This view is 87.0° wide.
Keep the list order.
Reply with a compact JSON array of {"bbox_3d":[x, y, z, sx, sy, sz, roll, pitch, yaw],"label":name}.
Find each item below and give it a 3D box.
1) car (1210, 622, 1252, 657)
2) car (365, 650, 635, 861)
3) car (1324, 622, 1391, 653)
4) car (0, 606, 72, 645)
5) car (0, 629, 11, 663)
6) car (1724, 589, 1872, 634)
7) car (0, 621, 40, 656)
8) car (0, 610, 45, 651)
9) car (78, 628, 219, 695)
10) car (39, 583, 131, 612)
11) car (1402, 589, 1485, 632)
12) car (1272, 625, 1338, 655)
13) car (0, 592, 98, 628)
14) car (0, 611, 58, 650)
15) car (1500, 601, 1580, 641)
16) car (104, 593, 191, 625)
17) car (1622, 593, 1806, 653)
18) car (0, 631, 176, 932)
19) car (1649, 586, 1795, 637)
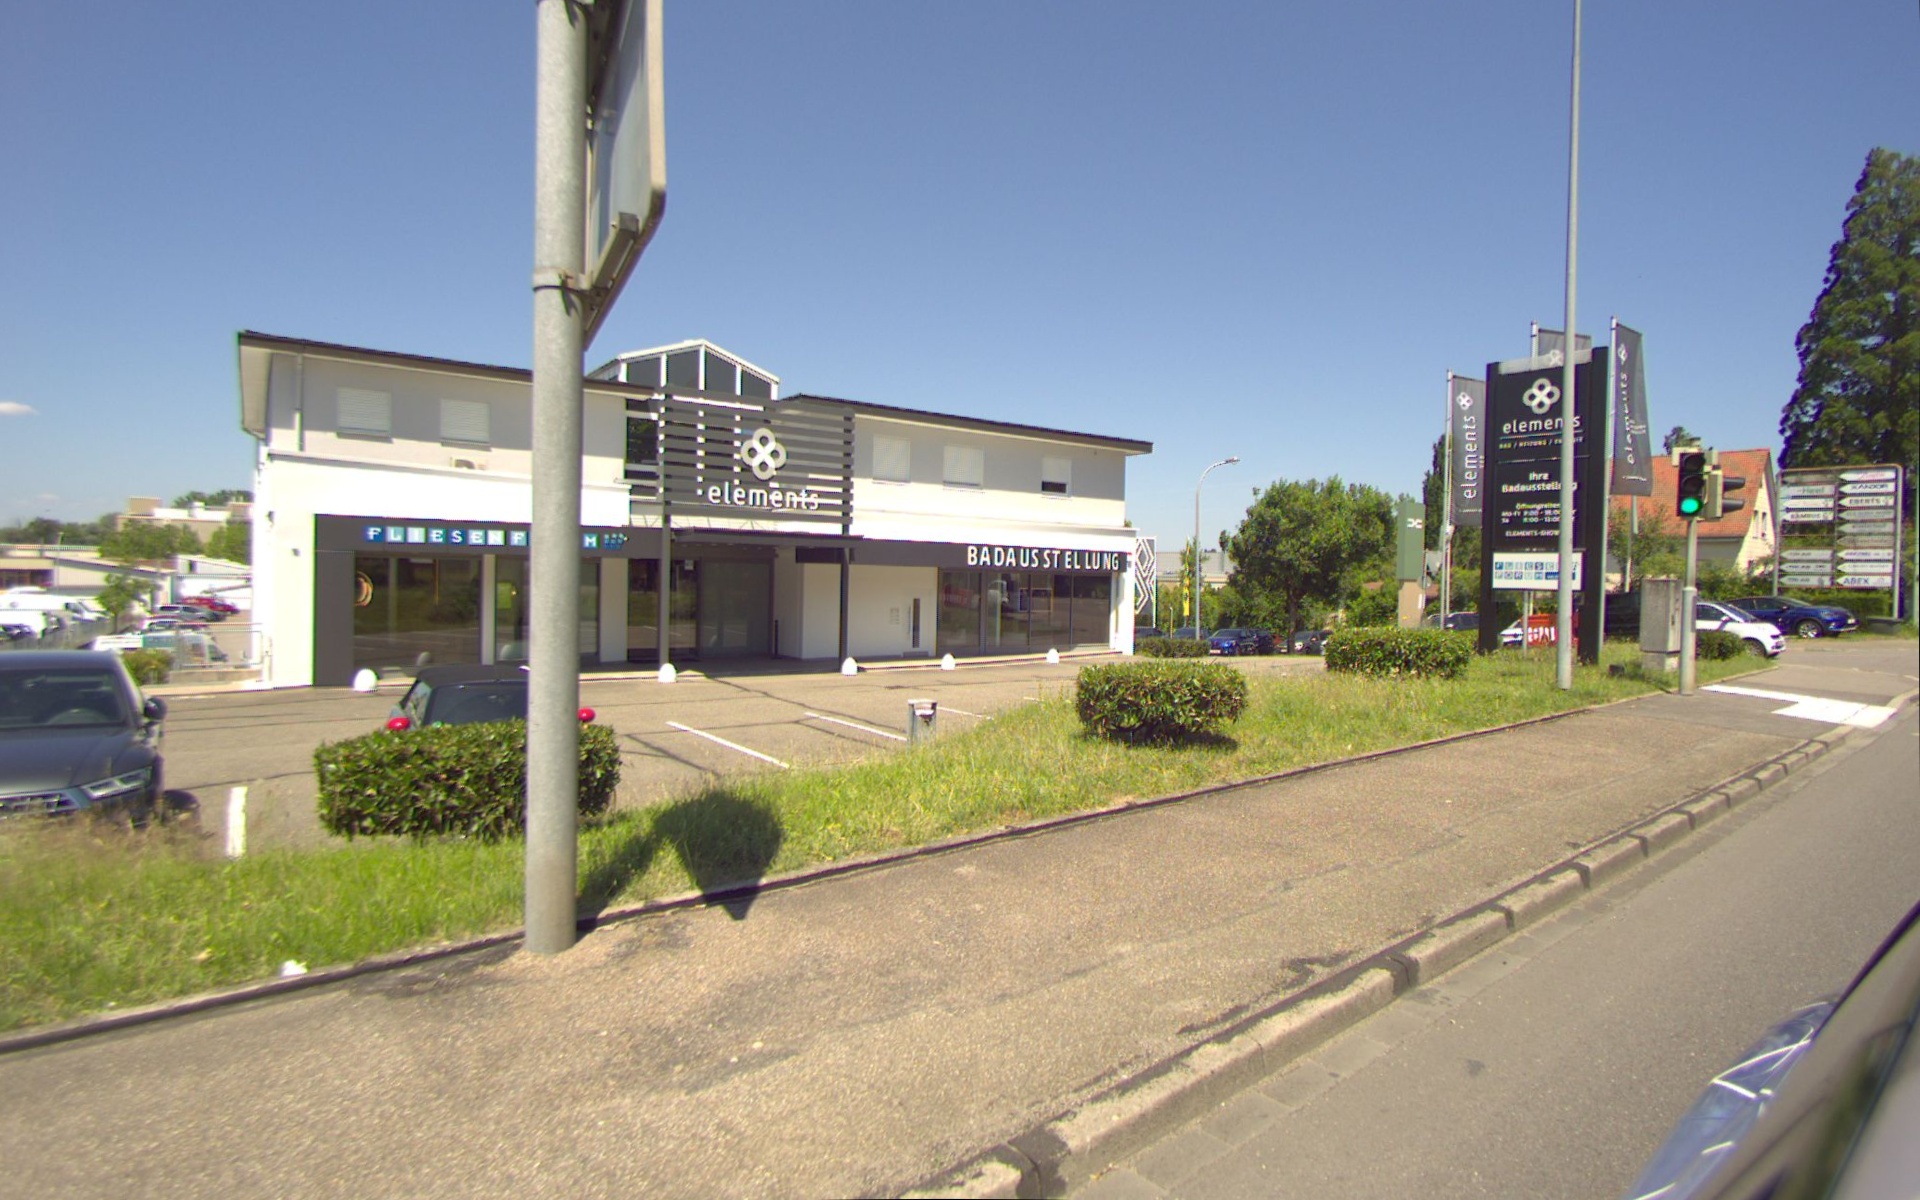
[{"bbox_3d":[13.072,1.891,48.800,1.841,1.527,3.980,-1,0,16],"label":"car"},{"bbox_3d":[-4.796,1.358,10.236,1.597,1.400,3.976,0,2,-38],"label":"car"},{"bbox_3d":[21.112,1.954,53.725,3.634,1.453,1.835,0,1,-40],"label":"car"},{"bbox_3d":[-54.132,1.467,58.830,3.617,2.146,1.699,0,-1,-37],"label":"car"},{"bbox_3d":[-43.559,2.028,43.659,3.628,1.477,1.723,0,0,-37],"label":"car"},{"bbox_3d":[28.379,0.346,34.350,1.597,1.400,3.638,0,2,-38],"label":"car"},{"bbox_3d":[-46.282,1.830,48.064,3.628,1.613,1.723,0,0,-37],"label":"car"},{"bbox_3d":[-51.186,1.624,53.584,3.856,2.141,1.723,0,-1,-37],"label":"car"},{"bbox_3d":[-31.813,2.346,39.870,2.185,2.365,4.386,0,0,-3],"label":"car"},{"bbox_3d":[-77.719,-0.263,90.079,6.028,2.439,2.505,-1,0,-38],"label":"car"},{"bbox_3d":[19.396,0.382,40.555,3.635,1.665,1.697,-1,0,-41],"label":"car"},{"bbox_3d":[18.881,2.150,55.303,3.633,1.453,1.776,0,1,-39],"label":"car"},{"bbox_3d":[-62.548,0.667,69.274,5.255,2.367,2.418,0,0,-37],"label":"car"},{"bbox_3d":[-49.009,1.561,52.122,3.628,1.915,1.723,0,-1,-37],"label":"car"},{"bbox_3d":[25.560,0.899,44.596,3.630,1.665,1.699,-1,0,-36],"label":"car"},{"bbox_3d":[-64.039,0.683,79.902,5.255,2.367,2.418,0,0,-37],"label":"car"},{"bbox_3d":[19.980,0.551,26.944,1.597,1.400,3.638,0,2,-38],"label":"car"},{"bbox_3d":[-7.587,1.230,8.266,1.849,1.684,4.606,0,2,-38],"label":"car"},{"bbox_3d":[25.525,0.327,34.007,1.597,1.570,3.638,0,2,-38],"label":"car"}]
